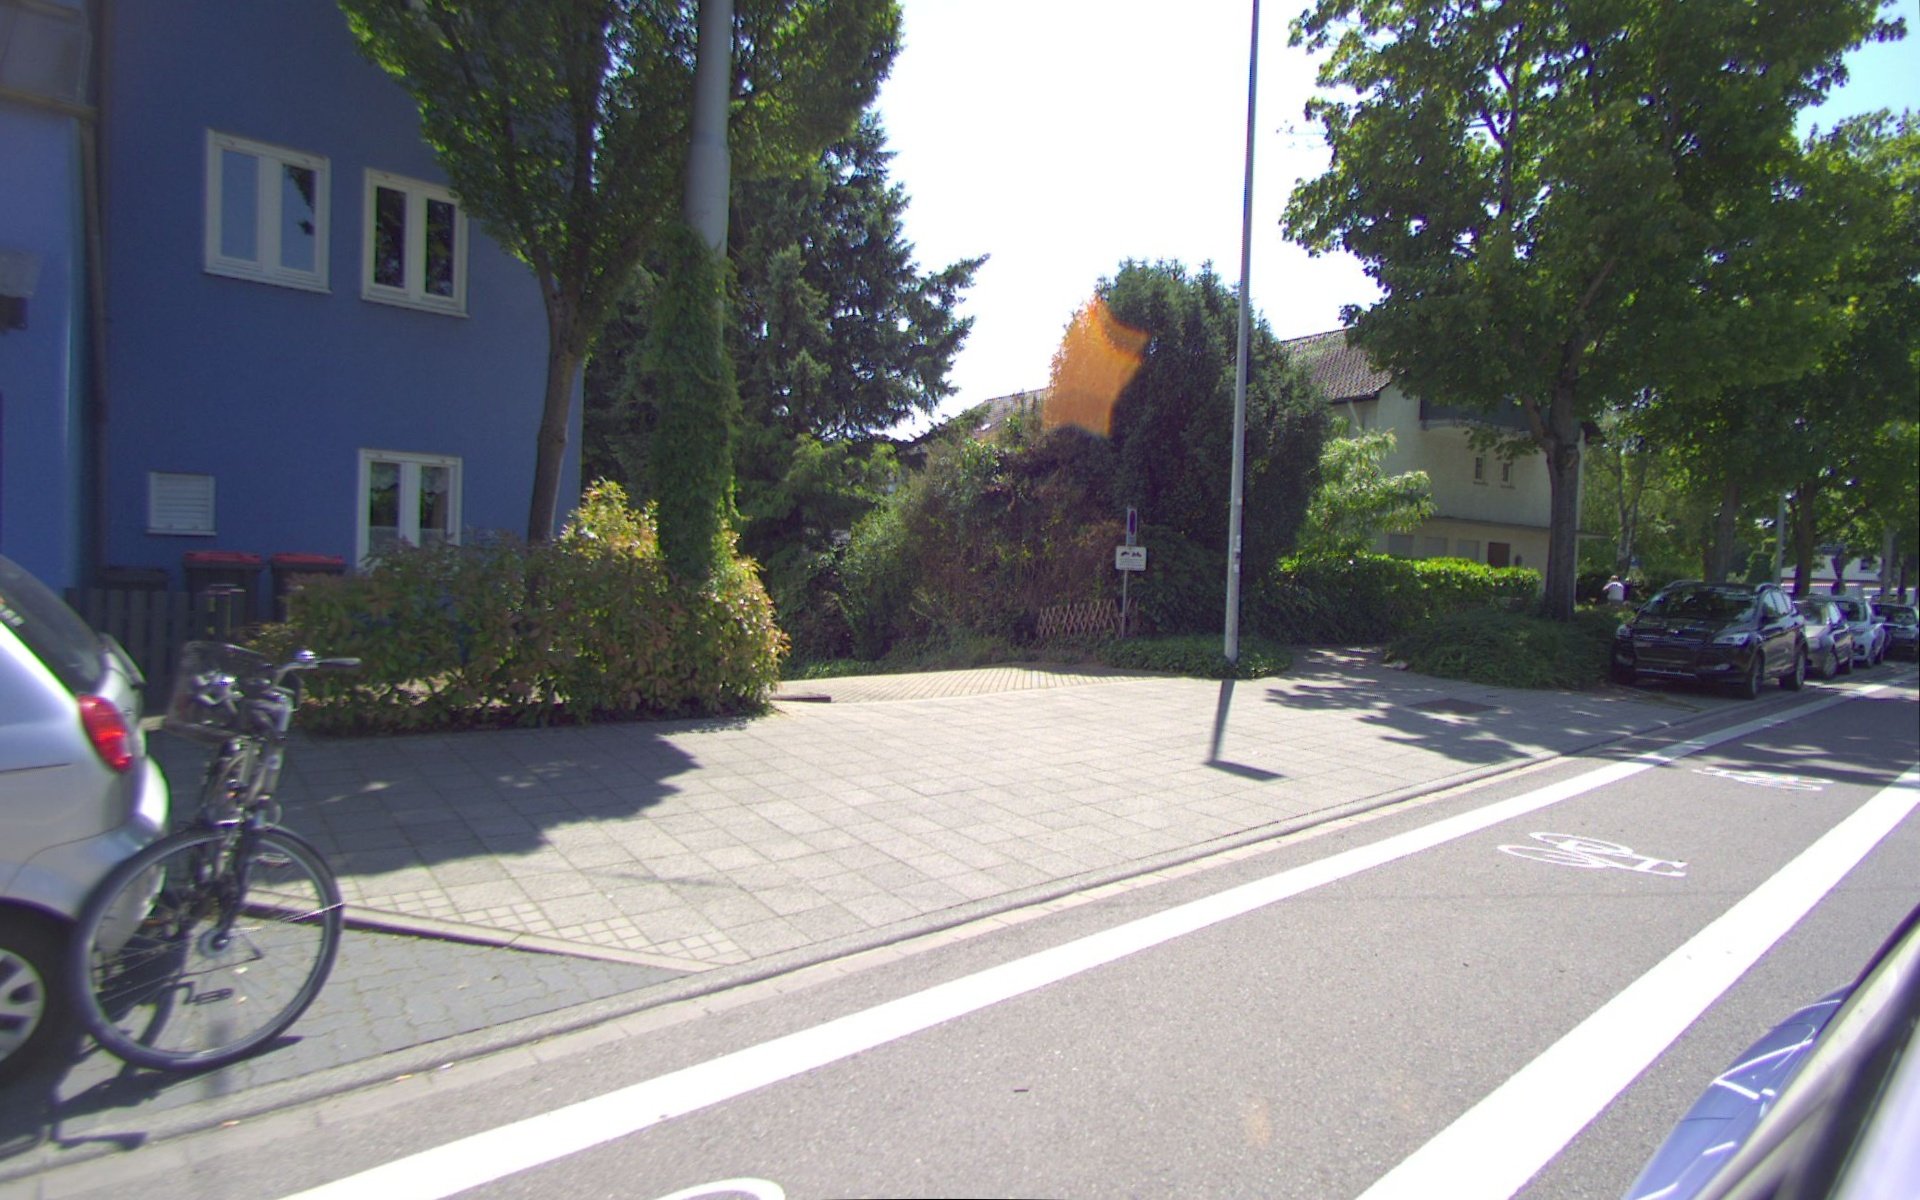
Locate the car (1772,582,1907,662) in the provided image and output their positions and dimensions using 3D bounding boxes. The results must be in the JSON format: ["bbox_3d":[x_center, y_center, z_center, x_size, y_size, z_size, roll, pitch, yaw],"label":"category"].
[{"bbox_3d":[20.516,0.460,23.549,4.135,1.547,1.844,1,5,-43],"label":"car"}]

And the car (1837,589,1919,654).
[{"bbox_3d":[25.100,0.562,27.073,4.742,1.453,1.845,1,5,-42],"label":"car"}]

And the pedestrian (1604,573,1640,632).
[{"bbox_3d":[20.031,0.072,30.611,0.747,1.743,0.623,3,2,44],"label":"pedestrian"}]

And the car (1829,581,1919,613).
[{"bbox_3d":[77.712,-0.259,85.411,2.221,2.561,6.360,1,1,-37],"label":"car"}]

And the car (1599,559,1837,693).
[{"bbox_3d":[12.100,0.358,16.057,4.542,1.726,1.847,1,5,-39],"label":"car"}]

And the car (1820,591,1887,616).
[{"bbox_3d":[69.627,0.246,78.864,1.922,1.806,3.782,1,1,-44],"label":"car"}]

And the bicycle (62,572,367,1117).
[{"bbox_3d":[-2.564,0.633,3.542,0.670,1.242,1.782,1,7,-35],"label":"bicycle"}]

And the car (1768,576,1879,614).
[{"bbox_3d":[59.324,-0.361,69.647,2.057,2.490,5.504,1,1,-39],"label":"car"}]

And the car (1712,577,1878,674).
[{"bbox_3d":[16.430,0.450,19.841,4.279,1.547,1.845,1,5,-43],"label":"car"}]

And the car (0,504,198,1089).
[{"bbox_3d":[-4.173,0.473,2.351,3.748,1.547,1.523,1,5,-40],"label":"car"}]
